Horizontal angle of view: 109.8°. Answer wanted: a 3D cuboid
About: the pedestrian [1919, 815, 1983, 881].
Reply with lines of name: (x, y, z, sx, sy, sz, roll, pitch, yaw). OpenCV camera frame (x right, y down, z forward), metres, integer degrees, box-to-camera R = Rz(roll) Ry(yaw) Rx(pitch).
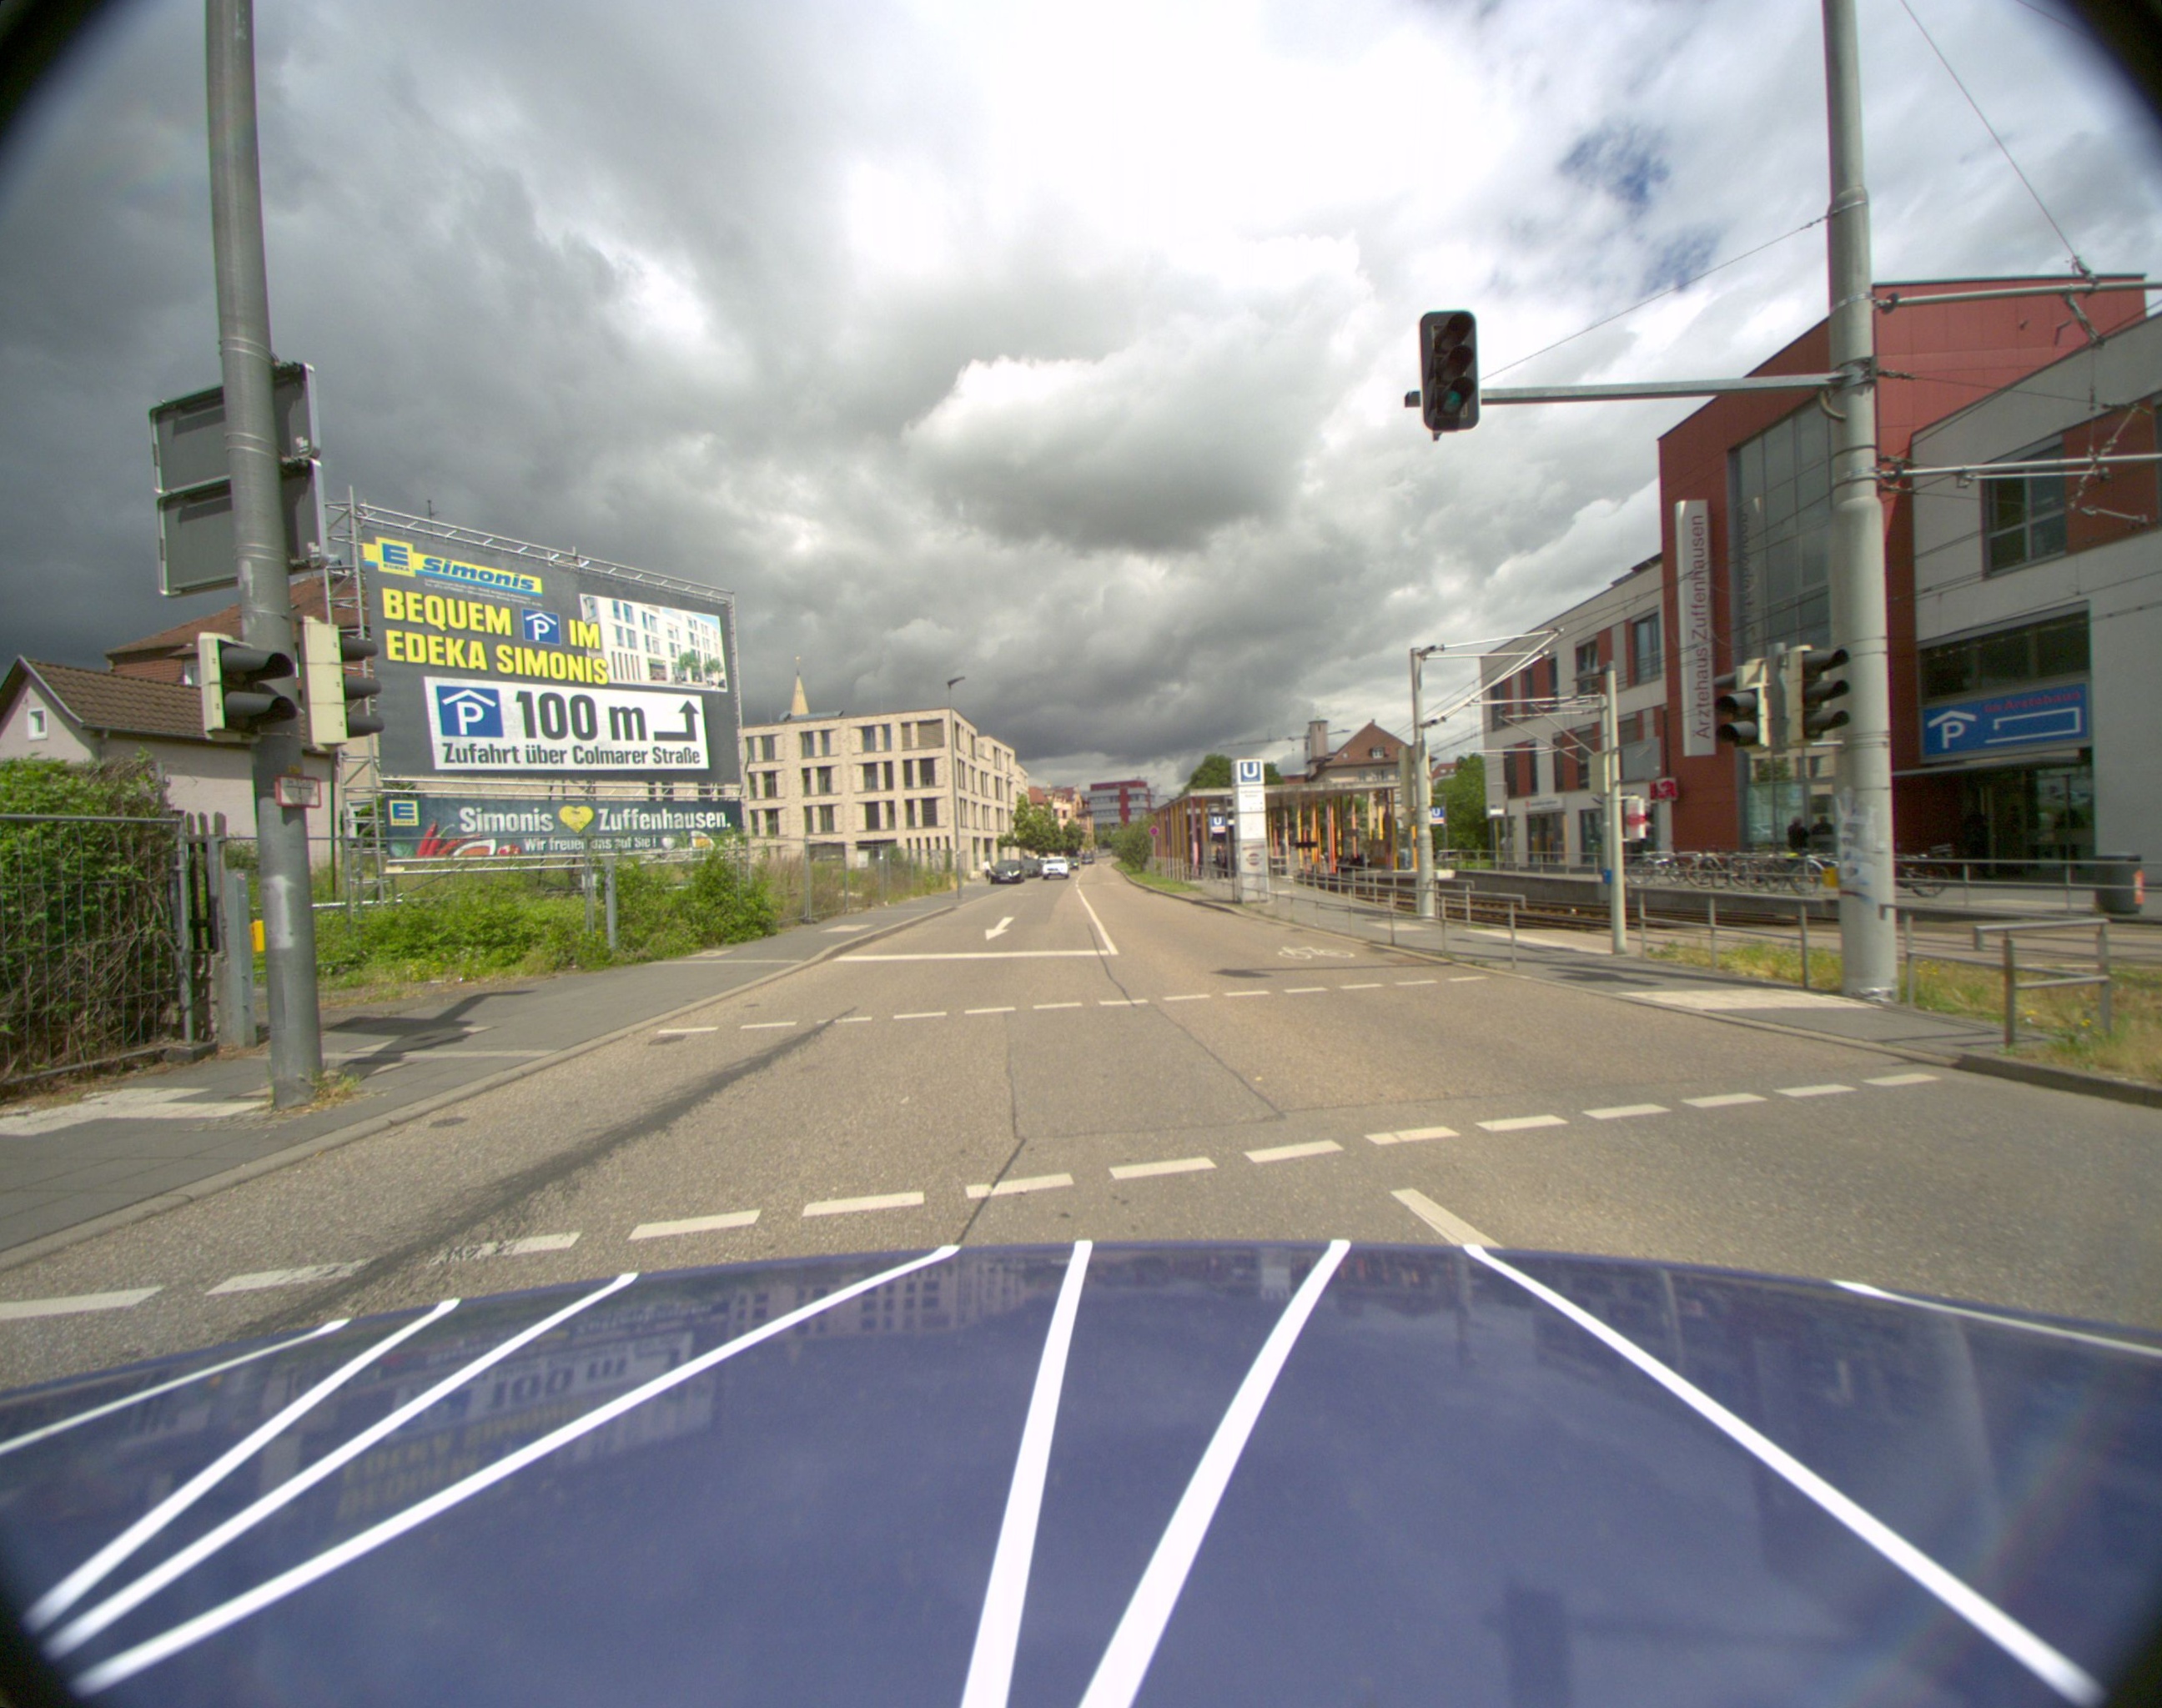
pedestrian: (22.714, -0.156, 19.859, 0.933, 1.688, 0.790, 0, 2, 37)

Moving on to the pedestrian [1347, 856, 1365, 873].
pedestrian: (19.066, 0.700, 52.633, 0.943, 1.128, 0.886, -2, 0, 2)

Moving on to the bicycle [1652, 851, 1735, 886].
bicycle: (17.589, 0.418, 21.845, 1.861, 0.927, 0.455, -2, 1, 9)

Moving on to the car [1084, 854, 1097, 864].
car: (1.450, 0.714, 112.940, 1.677, 1.299, 3.794, -1, 1, 3)

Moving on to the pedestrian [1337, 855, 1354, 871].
pedestrian: (19.275, 0.631, 55.458, 0.943, 1.128, 0.886, -2, 0, 2)

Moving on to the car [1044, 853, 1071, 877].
car: (-1.607, 0.754, 52.895, 1.719, 1.541, 3.793, -1, 0, 1)

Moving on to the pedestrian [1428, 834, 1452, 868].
pedestrian: (21.043, -0.191, 44.600, 0.864, 1.957, 1.105, -1, 2, -1)

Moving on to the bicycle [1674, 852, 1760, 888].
bicycle: (17.564, 0.433, 21.016, 1.861, 0.917, 0.455, -2, 1, 8)

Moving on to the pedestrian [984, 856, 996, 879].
pedestrian: (-6.138, 0.893, 51.529, 0.673, 1.503, 0.782, -2, 0, 1)

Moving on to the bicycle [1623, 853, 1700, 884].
bicycle: (17.530, 0.432, 22.973, 1.861, 0.876, 0.455, -2, 1, 9)

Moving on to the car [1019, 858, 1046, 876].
car: (-3.807, 1.001, 59.949, 1.677, 1.367, 3.795, -2, 0, 3)

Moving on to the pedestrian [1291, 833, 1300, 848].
pedestrian: (29.654, -1.849, 105.008, 1.125, 2.002, 1.661, -1, 0, 13)

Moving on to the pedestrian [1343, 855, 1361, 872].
pedestrian: (19.081, 0.683, 53.591, 0.943, 1.128, 0.886, -2, 0, 2)

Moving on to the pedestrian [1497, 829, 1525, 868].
pedestrian: (22.264, -0.279, 39.361, 0.864, 1.957, 1.106, -1, 2, 3)

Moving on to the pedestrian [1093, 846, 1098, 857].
pedestrian: (2.683, -0.421, 143.024, 0.800, 2.002, 0.810, -1, 0, 3)

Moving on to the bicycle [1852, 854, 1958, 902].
bicycle: (17.722, 0.512, 16.359, 1.739, 0.947, 0.428, -2, 1, 3)

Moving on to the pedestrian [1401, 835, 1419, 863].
pedestrian: (23.385, -0.378, 53.990, 0.863, 1.957, 1.106, -1, 2, 6)

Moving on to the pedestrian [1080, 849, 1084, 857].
pedestrian: (0.122, -0.200, 142.456, 0.673, 1.503, 0.783, -2, 0, 3)

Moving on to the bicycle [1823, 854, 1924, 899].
bicycle: (17.710, 0.498, 16.992, 1.739, 0.952, 0.428, -2, 1, 3)

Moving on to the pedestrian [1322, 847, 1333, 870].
pedestrian: (22.082, 0.380, 68.058, 0.617, 2.002, 0.775, -1, 0, -6)

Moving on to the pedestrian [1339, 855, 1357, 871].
pedestrian: (19.178, 0.663, 54.581, 0.943, 1.128, 0.886, -2, 0, 2)

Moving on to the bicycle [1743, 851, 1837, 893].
bicycle: (17.680, 0.448, 18.963, 1.862, 0.957, 0.454, -2, 1, 3)

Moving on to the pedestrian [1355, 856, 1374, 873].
pedestrian: (19.261, 0.715, 51.677, 0.943, 1.128, 0.886, -2, 0, 2)

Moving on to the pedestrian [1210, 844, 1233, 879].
pedestrian: (7.699, 0.409, 41.636, 1.105, 1.903, 0.864, -1, 2, 2)

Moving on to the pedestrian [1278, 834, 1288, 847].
pedestrian: (31.019, -2.113, 116.603, 1.451, 2.002, 1.968, 0, 1, 19)

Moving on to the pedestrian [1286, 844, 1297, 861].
pedestrian: (24.803, -0.192, 89.539, 1.127, 2.002, 1.179, -1, 0, 6)

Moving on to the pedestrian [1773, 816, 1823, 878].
pedestrian: (22.008, -0.229, 23.334, 0.881, 1.835, 0.862, -4, 3, -27)

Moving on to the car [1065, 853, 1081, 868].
car: (-0.832, 0.708, 82.275, 1.678, 1.425, 3.794, -2, 1, 0)

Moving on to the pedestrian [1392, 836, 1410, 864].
pedestrian: (22.729, -0.312, 54.022, 0.863, 1.957, 1.106, -1, 2, 6)

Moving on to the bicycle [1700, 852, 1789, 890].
bicycle: (17.547, 0.439, 20.115, 1.861, 0.934, 0.454, -2, 1, 5)

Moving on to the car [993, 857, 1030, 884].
car: (-4.161, 0.973, 46.105, 1.677, 1.415, 3.794, -1, 1, 3)

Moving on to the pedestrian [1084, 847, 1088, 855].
pedestrian: (0.986, -0.541, 142.203, 0.673, 1.503, 0.783, -2, 0, 3)

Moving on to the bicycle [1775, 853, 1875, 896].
bicycle: (17.643, 0.479, 18.032, 1.862, 0.930, 0.454, -2, 1, 3)

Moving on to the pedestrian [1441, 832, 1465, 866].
pedestrian: (21.869, -0.288, 44.635, 0.864, 1.957, 1.105, -1, 2, -1)
